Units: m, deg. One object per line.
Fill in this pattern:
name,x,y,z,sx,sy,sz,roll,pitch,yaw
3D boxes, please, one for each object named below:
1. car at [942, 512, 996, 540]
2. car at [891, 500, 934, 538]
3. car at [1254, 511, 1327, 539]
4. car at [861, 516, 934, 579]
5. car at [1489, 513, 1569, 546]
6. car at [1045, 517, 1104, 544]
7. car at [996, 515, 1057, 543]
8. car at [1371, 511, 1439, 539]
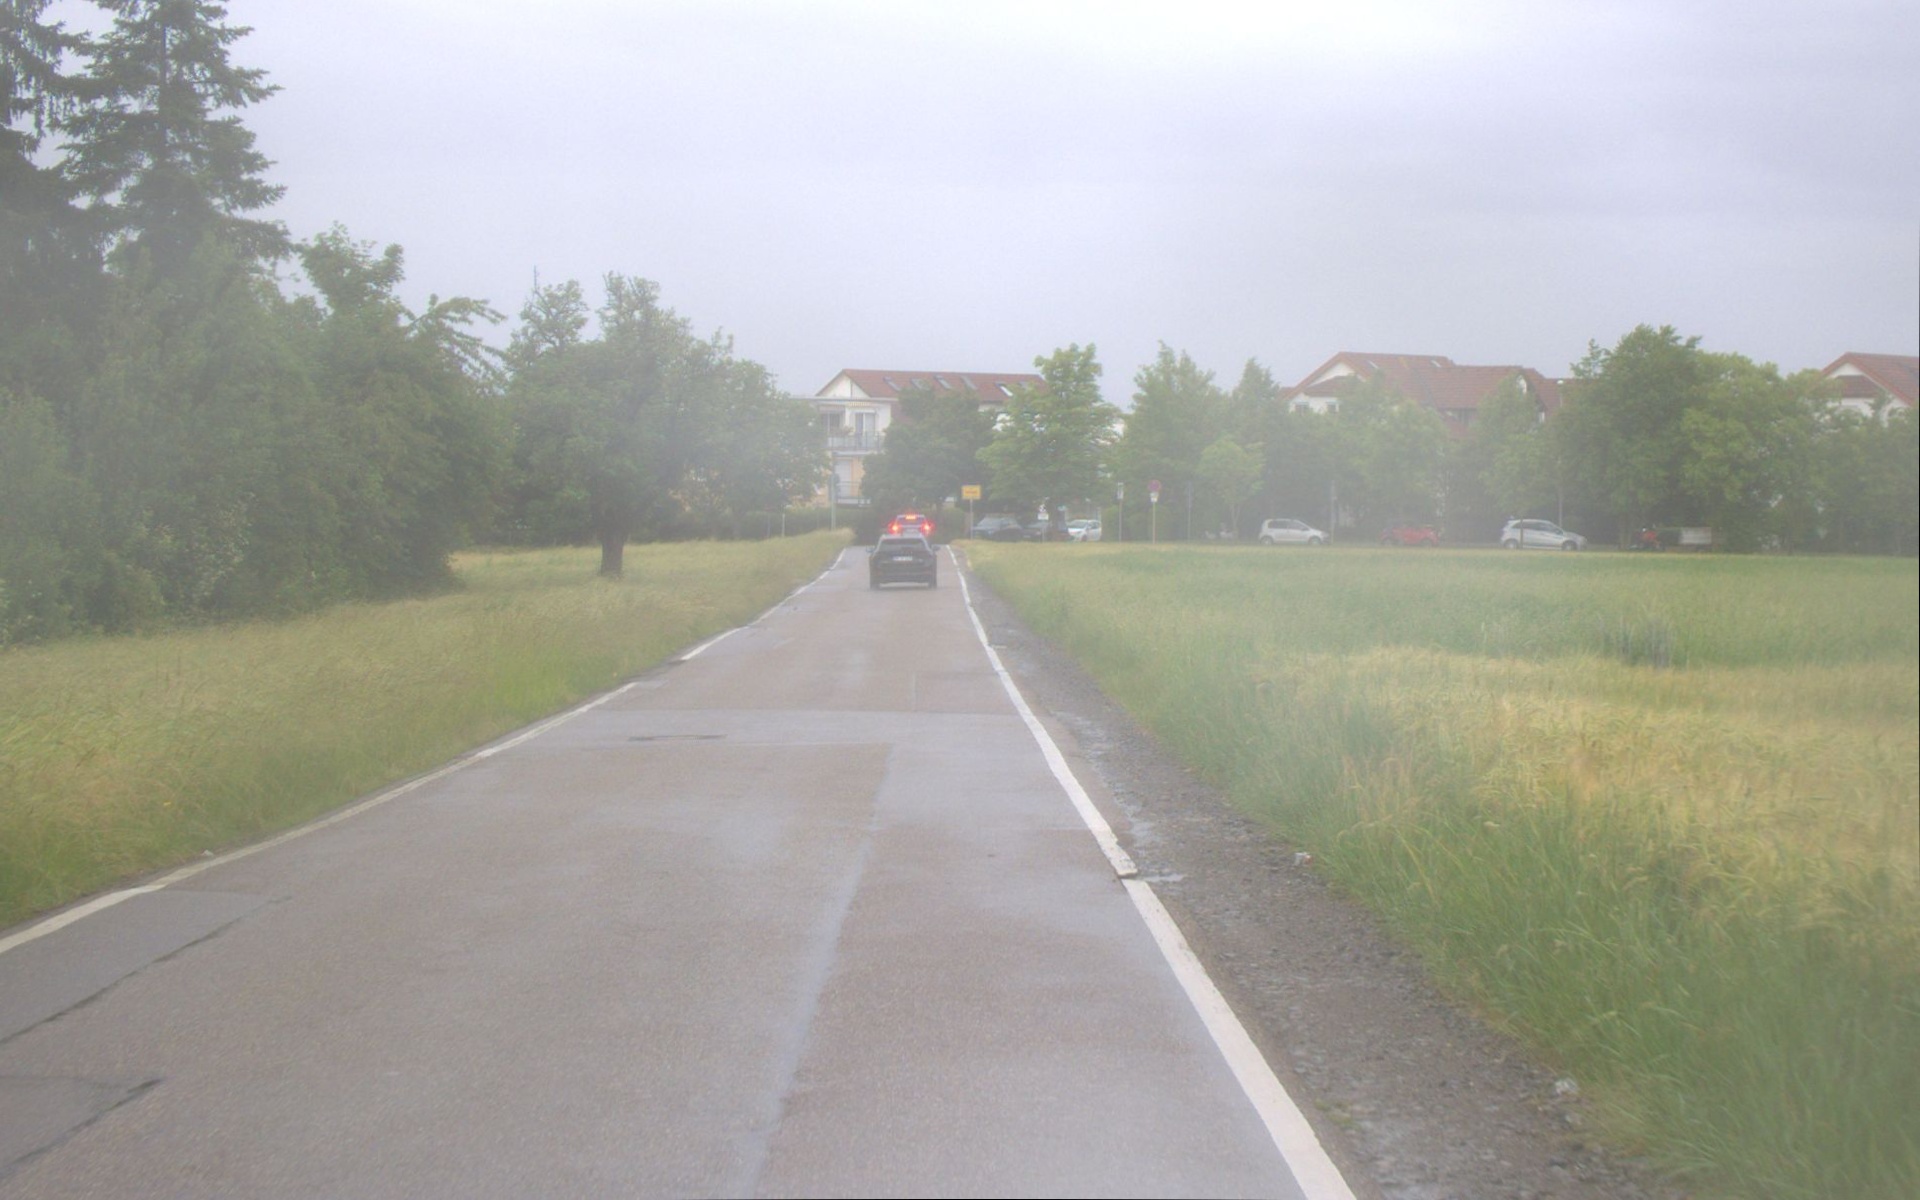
car,0.542,-4.283,198.671,1.663,1.541,3.995,0,0,24
car,-2.101,-3.560,152.250,1.814,1.588,4.000,0,0,1
car,16.346,-3.709,169.954,3.392,1.366,1.547,0,0,13
car,-1.623,-1.370,90.966,1.814,1.588,4.000,0,0,1
car,27.674,-3.427,167.158,3.711,1.558,1.609,0,0,13
car,6.960,-4.199,208.255,1.664,1.541,3.992,0,0,35
car,3.956,-4.210,203.991,1.664,1.541,3.992,0,0,35
car,21.873,-3.680,168.865,3.194,1.366,1.571,0,0,13
